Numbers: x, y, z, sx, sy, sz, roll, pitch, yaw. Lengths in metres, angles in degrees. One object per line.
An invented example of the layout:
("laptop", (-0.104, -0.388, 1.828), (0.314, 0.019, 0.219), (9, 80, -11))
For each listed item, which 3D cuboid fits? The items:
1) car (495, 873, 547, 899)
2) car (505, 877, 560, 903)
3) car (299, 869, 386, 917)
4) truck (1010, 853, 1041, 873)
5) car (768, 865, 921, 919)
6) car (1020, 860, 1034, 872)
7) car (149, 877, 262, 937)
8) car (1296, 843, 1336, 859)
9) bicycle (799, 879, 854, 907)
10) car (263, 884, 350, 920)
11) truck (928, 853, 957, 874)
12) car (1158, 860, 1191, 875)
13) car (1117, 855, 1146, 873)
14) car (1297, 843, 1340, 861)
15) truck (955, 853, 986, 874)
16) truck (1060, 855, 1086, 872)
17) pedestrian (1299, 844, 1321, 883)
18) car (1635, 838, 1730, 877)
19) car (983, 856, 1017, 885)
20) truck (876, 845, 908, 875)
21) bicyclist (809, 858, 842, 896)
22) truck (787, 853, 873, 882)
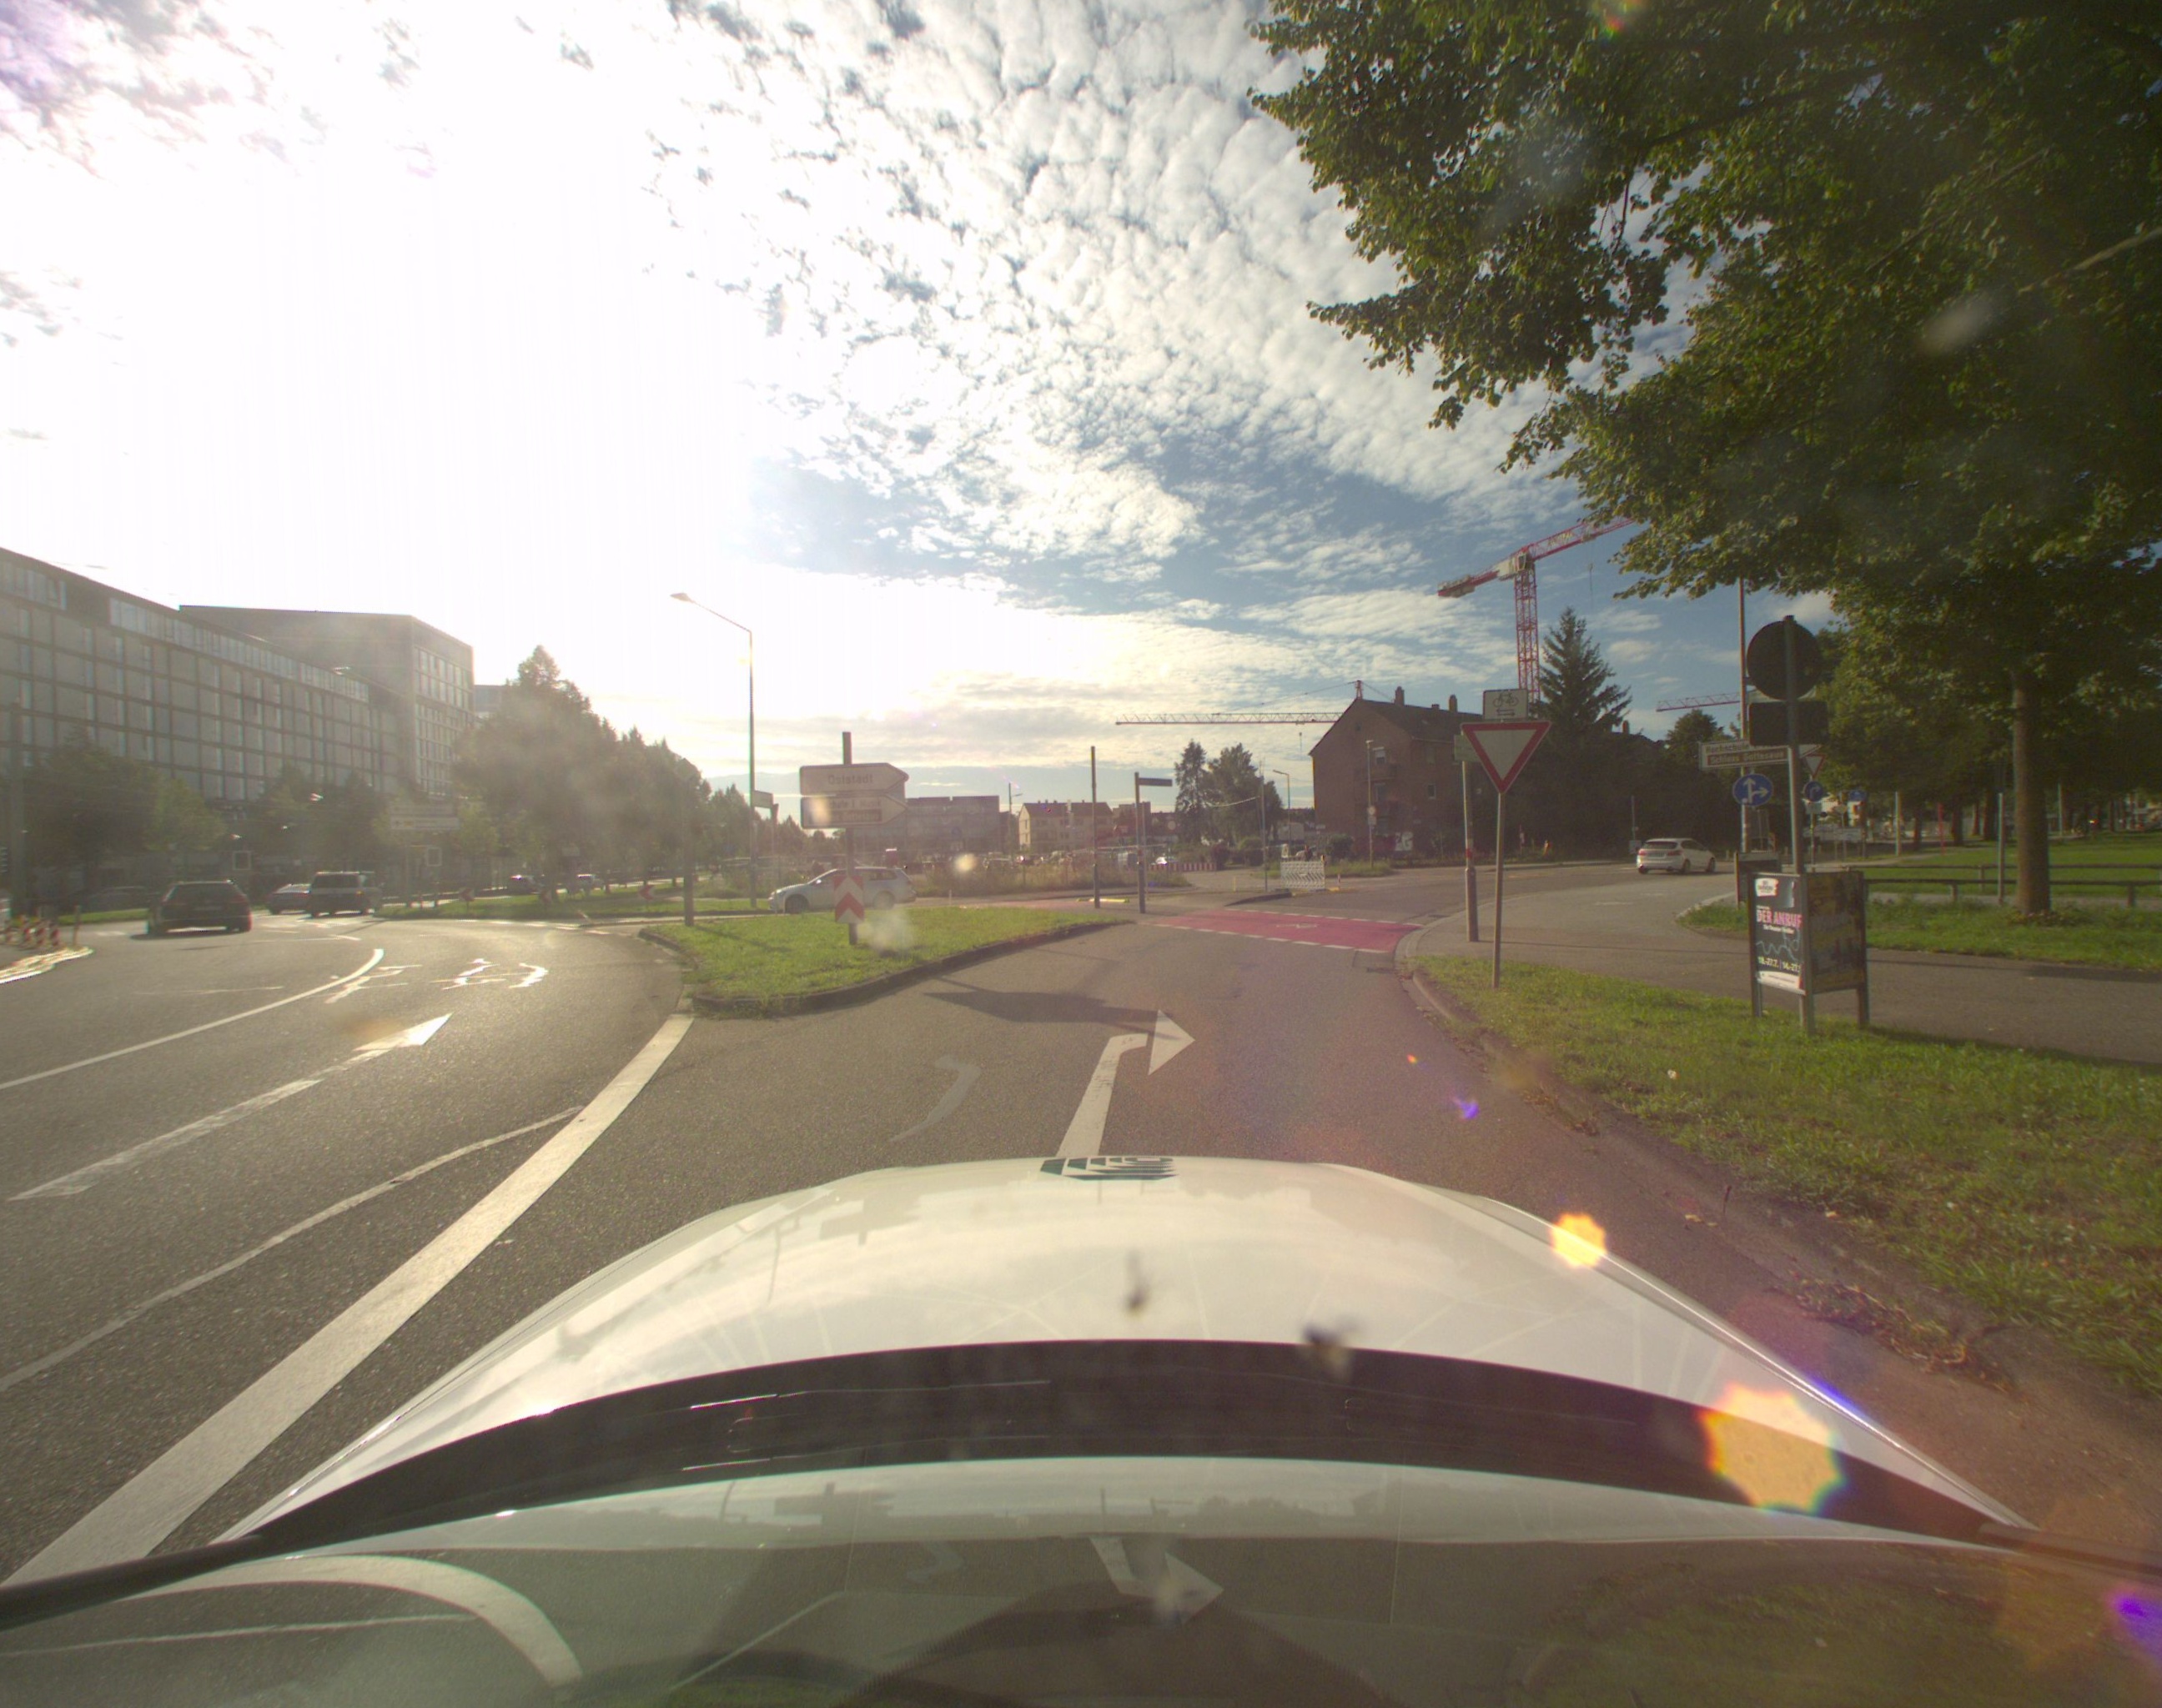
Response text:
("car", (-45.946, 2.575, 66.921), (1.898, 1.903, 4.639), (-1, 0, -13))
("car", (-38.186, 2.445, 56.789), (1.901, 1.611, 4.633), (-1, 0, -17))
("car", (-33.751, 1.704, 37.382), (1.907, 1.903, 4.618), (-1, 1, -29))
("truck", (-6.734, 1.050, 98.399), (2.293, 2.328, 5.602), (-1, 0, -19))
("car", (-7.548, 1.161, 26.102), (4.542, 1.452, 1.811), (-2, 0, -20))
("car", (-9.116, 1.977, 137.575), (1.993, 1.860, 3.987), (-2, 0, -9))
("car", (-25.605, 1.469, 23.761), (4.782, 1.567, 2.012), (-2, -1, 40))
("car", (25.016, -0.297, 86.752), (3.960, 1.618, 1.779), (-2, 0, 12))
("bicycle", (-10.383, 1.598, 33.242), (2.177, 1.063, 0.709), (-2, 0, 25))
("car", (-38.586, 2.341, 40.732), (1.906, 1.431, 4.620), (-1, 1, -27))
("truck", (-16.289, 1.066, 95.582), (2.334, 2.328, 6.411), (-1, 0, -19))
("car", (8.990, 1.280, 78.749), (1.720, 1.393, 3.976), (-2, 0, -17))
("car", (5.535, 1.077, 89.399), (1.884, 1.816, 3.976), (-2, 0, -17))
("car", (23.660, -0.190, 81.081), (3.952, 1.618, 1.783), (-2, 0, 23))
("truck", (-13.186, 1.107, 96.874), (2.334, 2.328, 6.411), (-1, 0, -19))
("truck", (-1.050, 1.230, 109.384), (1.979, 2.171, 5.373), (-2, 0, -17))
("pedestrian", (11.034, 0.468, 39.274), (0.660, 1.871, 0.840), (-2, -1, 40))
("car", (26.393, 0.118, 35.707), (4.470, 1.572, 1.838), (-1, 1, -32))
("car", (-5.298, 1.061, 53.905), (1.874, 1.816, 3.997), (-2, 0, -1))
("truck", (-21.703, 0.658, 93.441), (2.816, 3.207, 7.269), (-1, 0, -19))
("bicyclist", (-10.444, 0.943, 33.264), (0.998, 1.511, 0.709), (-2, 0, 26))
("truck", (-24.440, 1.264, 79.747), (7.850, 2.567, 3.058), (-2, 0, -16))
